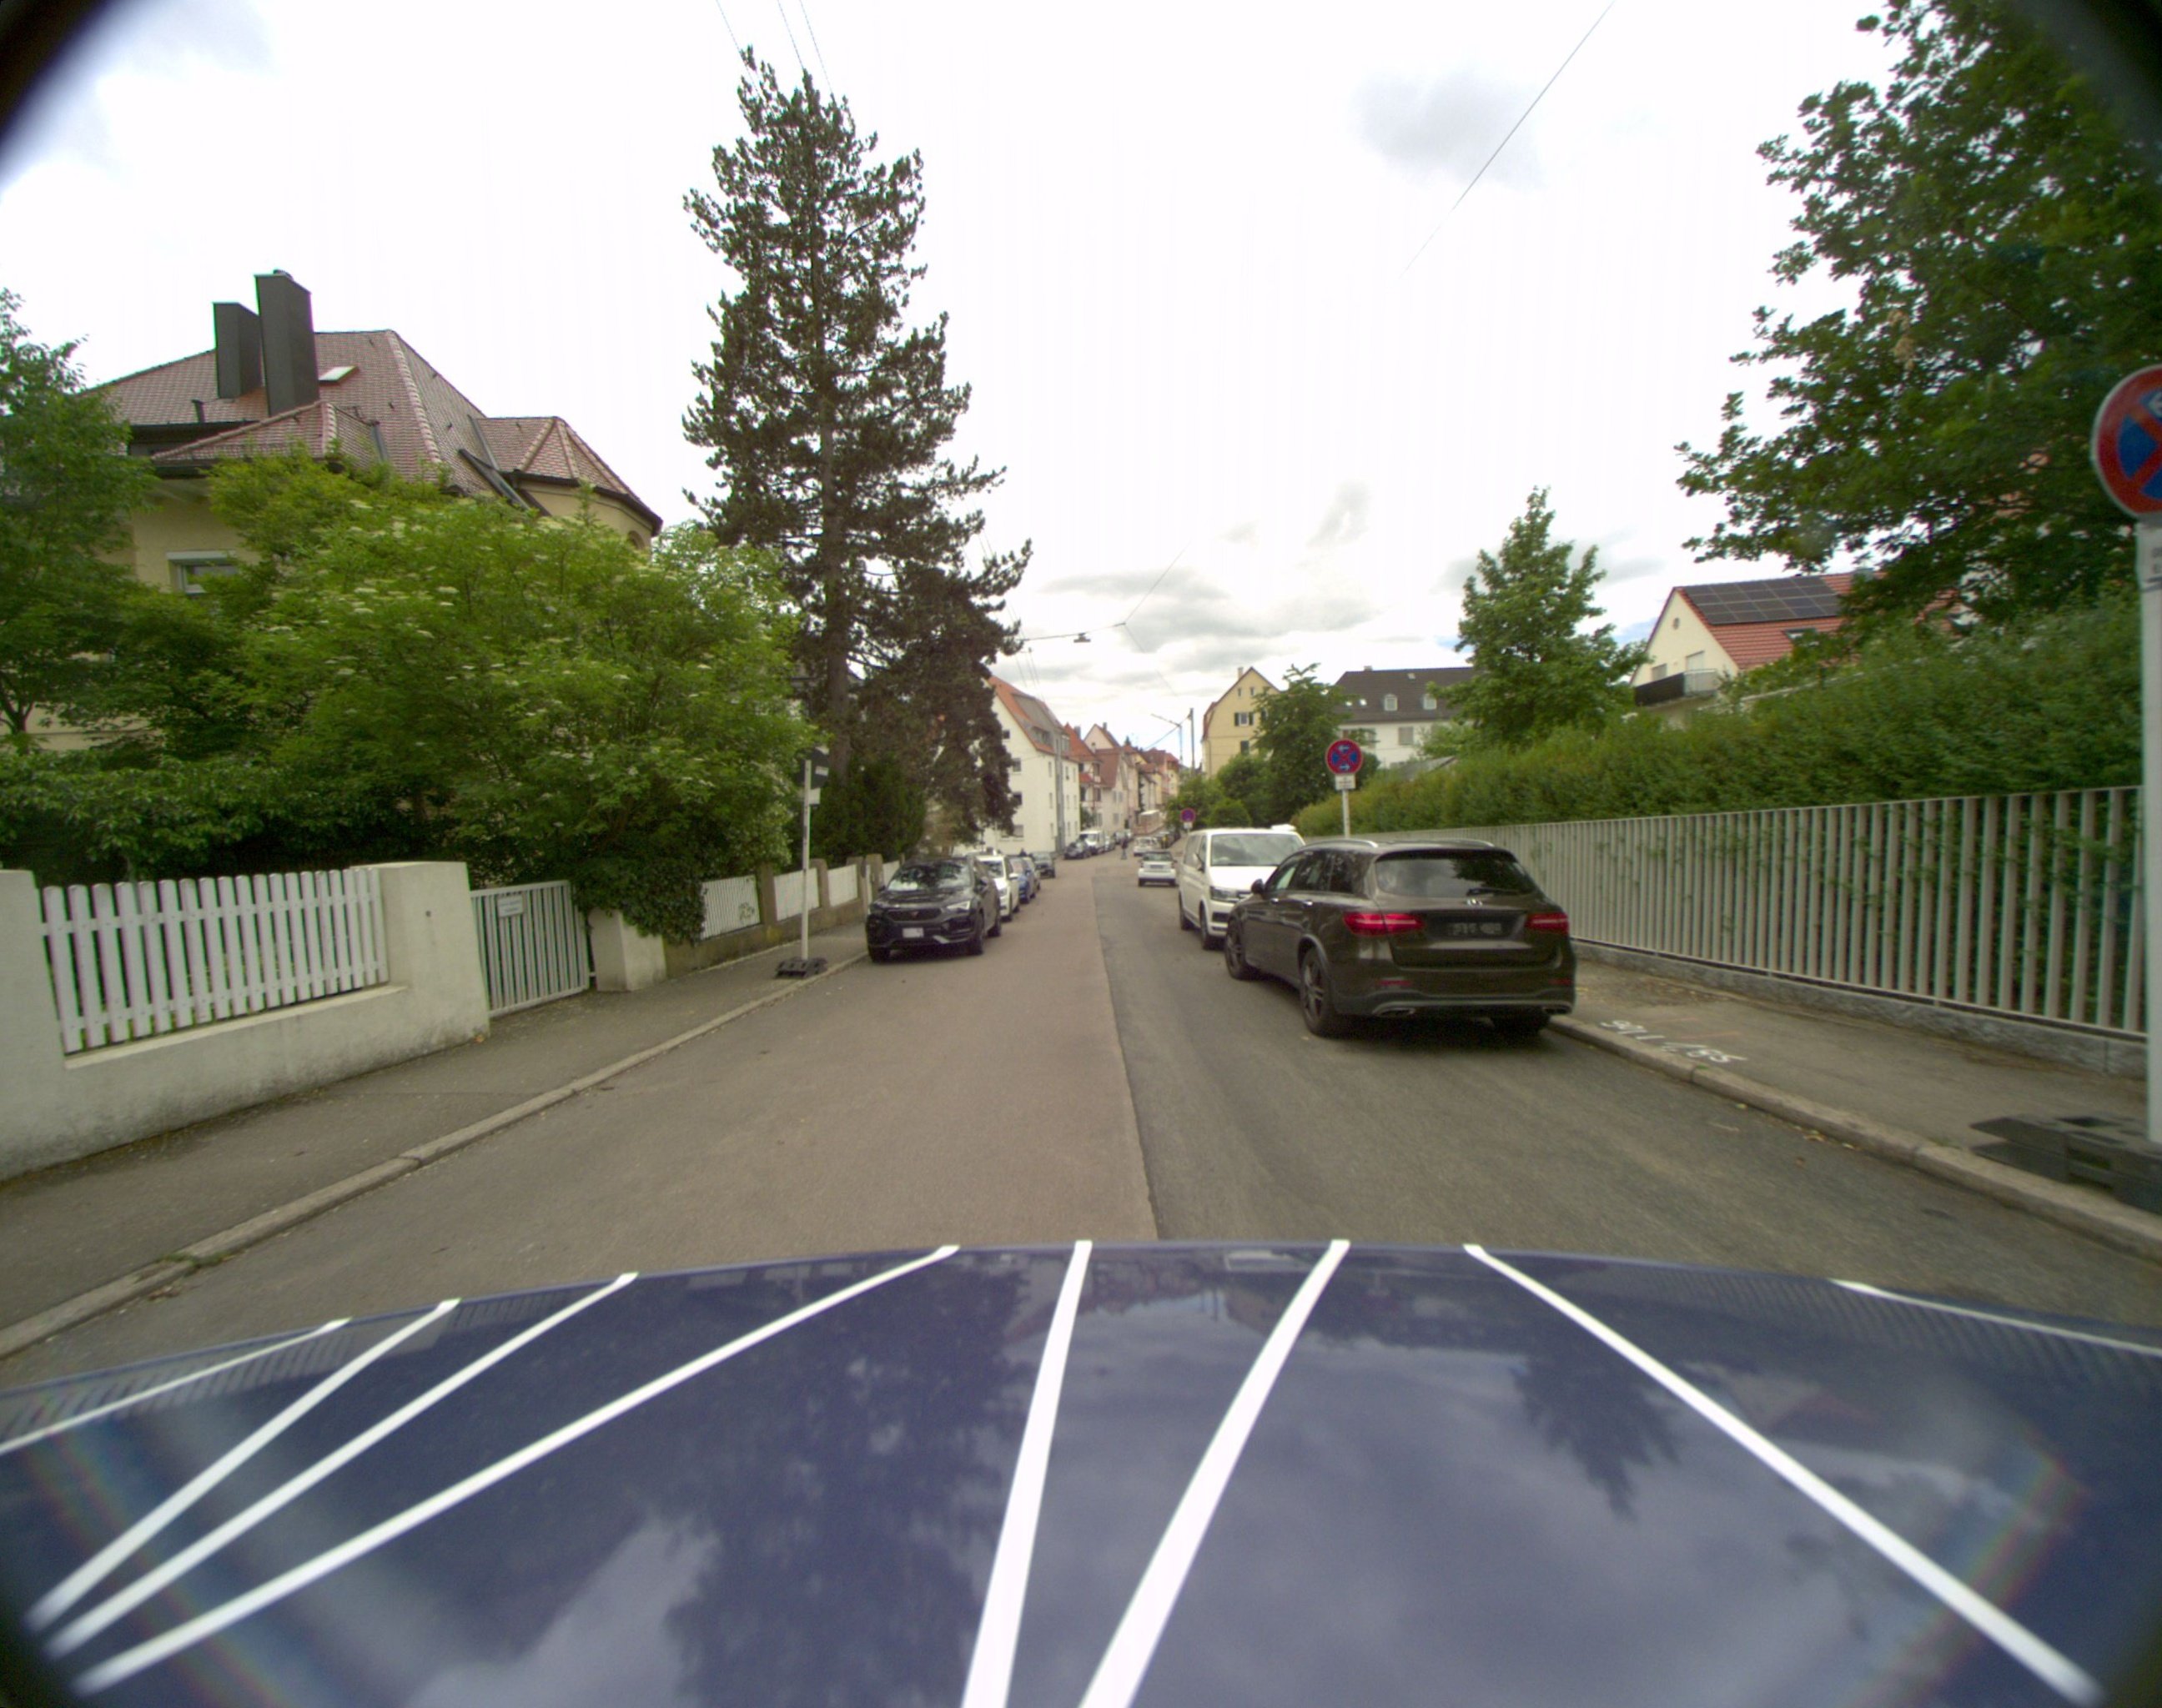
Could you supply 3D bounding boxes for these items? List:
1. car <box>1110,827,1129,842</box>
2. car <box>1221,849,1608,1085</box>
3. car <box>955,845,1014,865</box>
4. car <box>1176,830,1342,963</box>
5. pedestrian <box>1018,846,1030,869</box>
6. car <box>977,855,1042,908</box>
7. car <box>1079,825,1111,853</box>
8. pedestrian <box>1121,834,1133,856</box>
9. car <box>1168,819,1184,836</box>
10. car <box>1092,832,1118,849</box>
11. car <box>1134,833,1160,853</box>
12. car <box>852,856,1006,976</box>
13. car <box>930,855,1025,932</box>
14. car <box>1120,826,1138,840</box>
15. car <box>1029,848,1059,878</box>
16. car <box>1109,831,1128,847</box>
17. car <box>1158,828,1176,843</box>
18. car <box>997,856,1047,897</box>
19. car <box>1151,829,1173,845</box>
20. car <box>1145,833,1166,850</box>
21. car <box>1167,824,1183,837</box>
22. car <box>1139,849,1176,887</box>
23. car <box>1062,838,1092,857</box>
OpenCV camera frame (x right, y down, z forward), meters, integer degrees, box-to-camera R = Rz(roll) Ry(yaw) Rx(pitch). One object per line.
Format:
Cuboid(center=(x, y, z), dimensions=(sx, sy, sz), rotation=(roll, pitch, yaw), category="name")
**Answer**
Cuboid(center=(4.548, -2.289, 89.933), dimensions=(1.607, 1.482, 4.023), rotation=(-2, 4, 12), category="car")
Cuboid(center=(2.725, 0.767, 7.444), dimensions=(1.795, 1.614, 4.342), rotation=(-1, 1, -1), category="car")
Cuboid(center=(-7.884, 0.086, 62.243), dimensions=(4.352, 1.442, 1.765), rotation=(-3, 2, 13), category="car")
Cuboid(center=(2.854, 0.575, 13.275), dimensions=(1.859, 1.902, 4.618), rotation=(0, 1, 1), category="car")
Cuboid(center=(-4.010, 0.265, 53.486), dimensions=(0.682, 1.568, 0.906), rotation=(1, 3, 7), category="pedestrian")
Cuboid(center=(-2.324, 0.855, 25.617), dimensions=(1.651, 1.450, 4.051), rotation=(-3, 1, 1), category="car")
Cuboid(center=(1.393, -1.509, 73.292), dimensions=(1.996, 2.410, 5.294), rotation=(-1, 4, 13), category="car")
Cuboid(center=(3.730, -0.718, 61.494), dimensions=(0.822, 1.750, 0.644), rotation=(-4, 2, 5), category="pedestrian")
Cuboid(center=(12.027, -3.366, 96.038), dimensions=(1.752, 1.788, 4.148), rotation=(0, 5, 10), category="car")
Cuboid(center=(2.504, -1.402, 79.055), dimensions=(1.827, 1.437, 4.384), rotation=(-2, 4, 13), category="car")
Cuboid(center=(5.989, -0.975, 68.287), dimensions=(1.807, 1.650, 4.153), rotation=(-1, 2, 12), category="car")
Cuboid(center=(-2.487, 0.946, 13.448), dimensions=(1.754, 1.599, 4.074), rotation=(-4, 1, 1), category="car")
Cuboid(center=(-2.520, 0.901, 19.540), dimensions=(1.789, 1.594, 4.303), rotation=(-4, 1, 0), category="car")
Cuboid(center=(6.033, -2.622, 94.748), dimensions=(1.628, 1.386, 4.236), rotation=(-3, 4, 11), category="car")
Cuboid(center=(-2.095, 0.508, 43.489), dimensions=(1.576, 1.523, 2.867), rotation=(-5, 1, -2), category="car")
Cuboid(center=(4.460, -1.827, 89.923), dimensions=(1.779, 1.711, 4.001), rotation=(-2, 2, 10), category="car")
Cuboid(center=(9.855, -2.124, 87.007), dimensions=(1.641, 1.421, 4.123), rotation=(0, 5, 12), category="car")
Cuboid(center=(-2.286, 0.834, 30.328), dimensions=(1.577, 1.392, 3.655), rotation=(-3, 1, 1), category="car")
Cuboid(center=(8.736, -1.809, 81.637), dimensions=(1.805, 1.472, 4.329), rotation=(-1, 4, 12), category="car")
Cuboid(center=(7.212, -1.190, 73.158), dimensions=(1.609, 1.446, 3.614), rotation=(1, 4, 12), category="car")
Cuboid(center=(11.252, -2.832, 90.877), dimensions=(1.641, 1.392, 3.703), rotation=(-1, 4, 12), category="car")
Cuboid(center=(3.357, 0.561, 33.004), dimensions=(1.445, 1.543, 2.771), rotation=(1, 1, 8), category="car")
Cuboid(center=(-0.286, -0.606, 66.953), dimensions=(1.821, 1.478, 4.287), rotation=(-2, 3, 10), category="car")
